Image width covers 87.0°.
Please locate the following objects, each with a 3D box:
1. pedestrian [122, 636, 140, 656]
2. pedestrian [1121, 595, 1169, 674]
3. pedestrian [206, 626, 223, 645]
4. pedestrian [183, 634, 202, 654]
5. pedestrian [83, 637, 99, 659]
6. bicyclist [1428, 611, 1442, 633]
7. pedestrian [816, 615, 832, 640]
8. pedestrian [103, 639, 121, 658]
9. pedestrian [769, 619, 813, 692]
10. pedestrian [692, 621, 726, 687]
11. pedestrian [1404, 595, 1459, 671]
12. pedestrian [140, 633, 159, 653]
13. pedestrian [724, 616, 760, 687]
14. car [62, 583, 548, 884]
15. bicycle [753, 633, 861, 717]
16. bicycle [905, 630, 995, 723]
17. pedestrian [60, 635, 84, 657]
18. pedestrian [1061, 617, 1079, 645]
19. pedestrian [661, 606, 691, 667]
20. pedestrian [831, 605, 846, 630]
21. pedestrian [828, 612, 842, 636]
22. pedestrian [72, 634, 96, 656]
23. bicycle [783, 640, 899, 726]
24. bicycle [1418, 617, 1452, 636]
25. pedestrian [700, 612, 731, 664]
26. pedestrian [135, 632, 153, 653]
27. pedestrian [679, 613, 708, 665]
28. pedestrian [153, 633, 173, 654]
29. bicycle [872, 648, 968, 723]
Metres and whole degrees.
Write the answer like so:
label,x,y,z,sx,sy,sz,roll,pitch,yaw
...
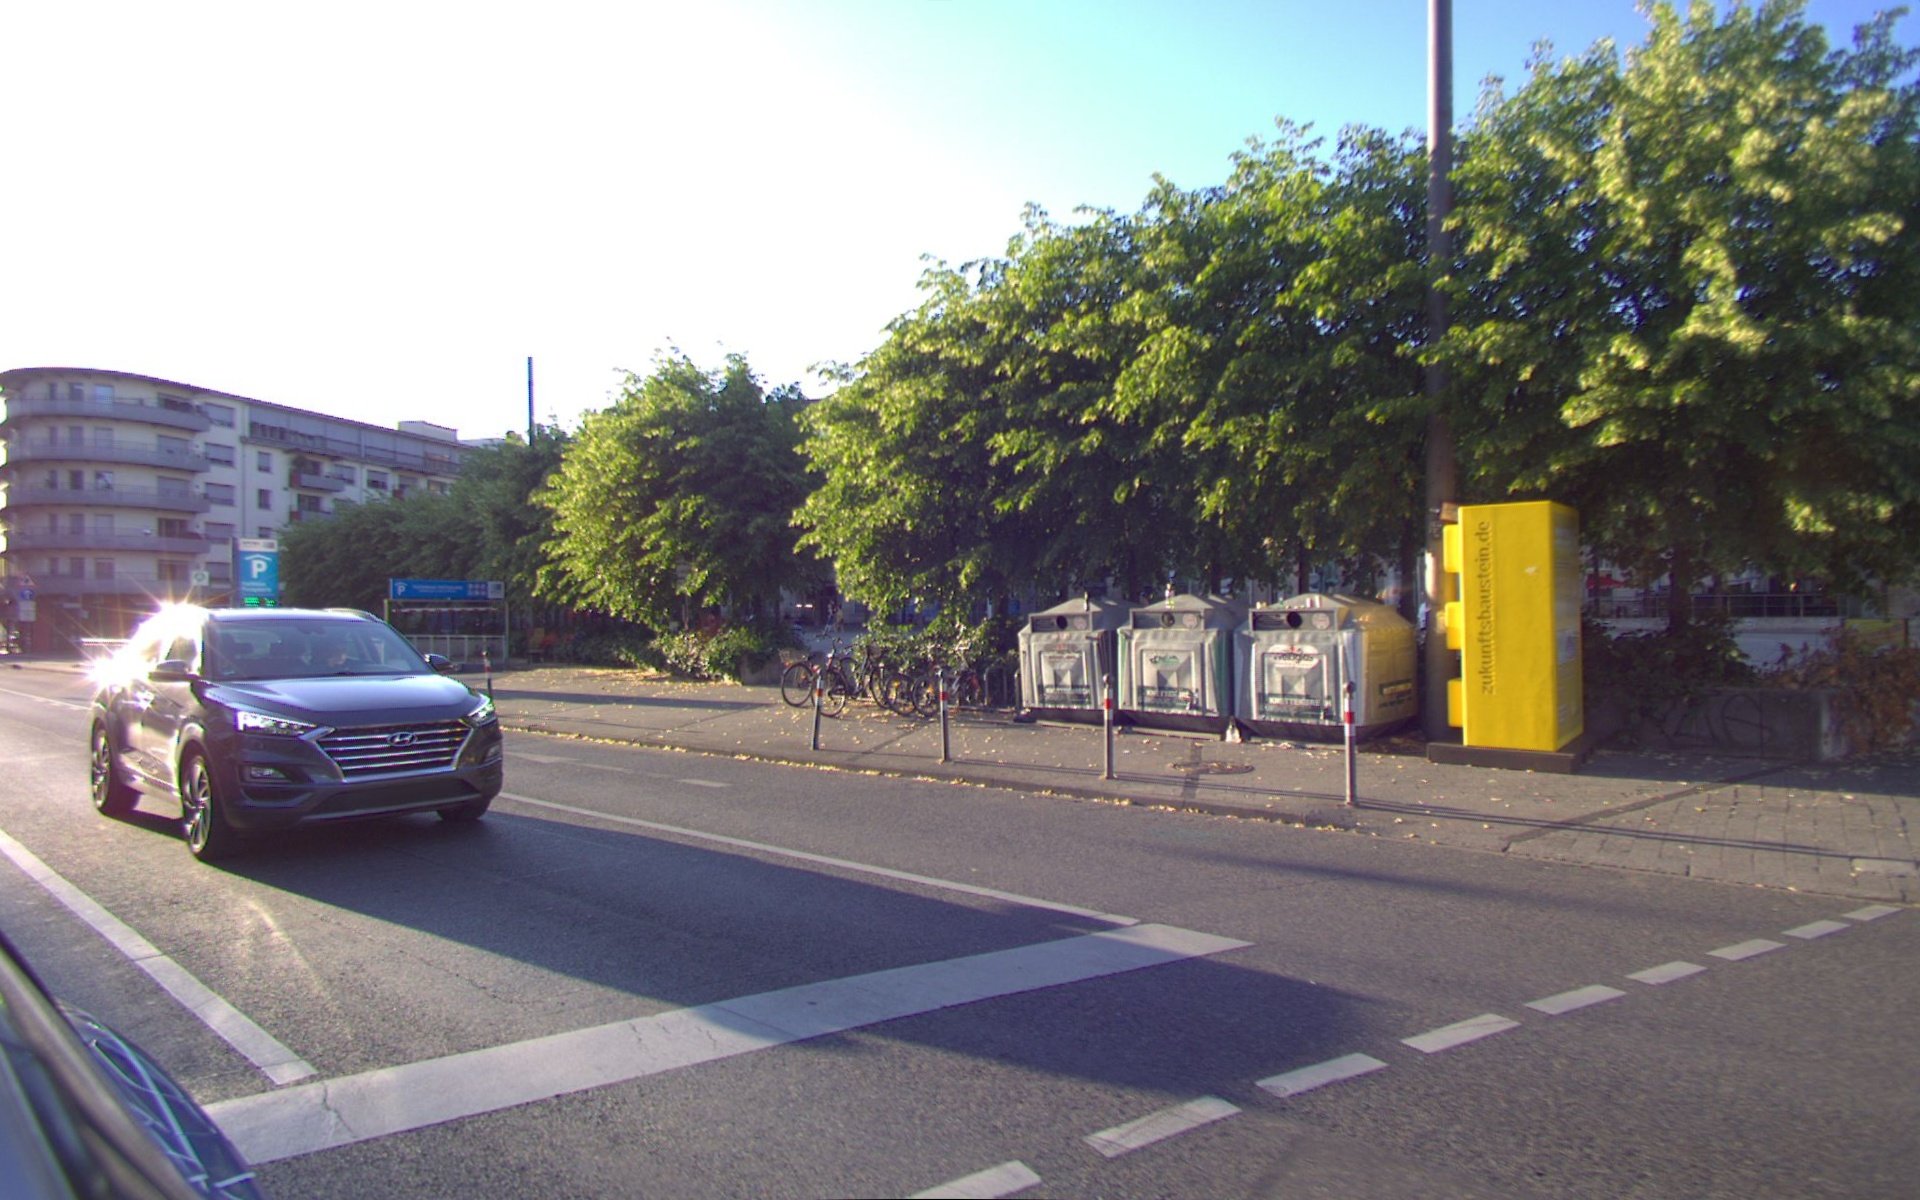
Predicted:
label,x,y,z,sx,sy,sz,roll,pitch,yaw
pedestrian,-54.007,2.991,65.922,0.888,1.332,0.723,-2,-1,39
pedestrian,4.172,0.764,22.870,0.723,1.738,0.899,-1,0,-13
pedestrian,-53.834,2.546,73.085,0.721,1.332,0.891,-1,-1,-11
pedestrian,-52.718,3.015,69.548,0.883,1.332,0.727,-1,-1,25
pedestrian,-55.466,3.049,64.584,0.610,1.332,0.669,-2,-1,38
bicyclist,32.442,1.481,69.173,0.764,1.459,0.637,-1,0,16
pedestrian,-7.640,1.531,56.728,0.651,1.386,0.656,-1,-1,25
pedestrian,-53.921,3.090,64.374,0.875,1.201,0.734,0,-1,-41
pedestrian,-4.788,1.557,28.657,0.852,2.029,0.898,-1,-1,26
pedestrian,-7.985,1.706,32.187,0.890,2.029,0.741,0,-1,-27
pedestrian,10.344,0.715,22.233,0.693,1.633,0.843,-1,0,-12
pedestrian,-54.153,2.886,67.636,0.813,1.332,0.684,-1,-1,16
pedestrian,-6.443,1.504,29.946,0.890,2.029,0.742,0,-1,-23
car,-5.237,0.826,7.857,4.444,1.702,1.854,-2,-2,39
bicycle,-2.562,1.227,17.131,0.547,1.262,2.007,-2,0,35
bicycle,-0.126,1.109,15.164,0.444,1.262,1.571,-2,0,38
pedestrian,-55.069,2.863,62.789,0.725,1.332,0.885,-1,-1,13
pedestrian,4.425,1.251,40.825,0.528,1.071,0.457,-4,-1,34
pedestrian,-9.694,1.239,34.552,0.890,2.029,0.742,0,-1,-23
pedestrian,-6.754,0.989,56.138,0.651,1.386,0.515,-1,-1,26
pedestrian,-7.270,1.423,58.965,0.651,1.386,0.515,-1,-1,26
pedestrian,-54.166,2.790,62.605,0.724,1.332,0.886,-1,-1,9
bicycle,-1.793,1.238,15.585,0.547,1.143,2.007,-2,0,35
bicycle,32.428,1.839,69.141,2.012,1.270,0.577,-1,0,17
pedestrian,-9.567,1.477,39.605,0.736,2.029,0.898,-2,-1,28
pedestrian,-53.545,2.796,66.428,0.887,1.332,0.724,-2,-1,37
pedestrian,-10.576,1.553,40.191,0.733,2.029,0.901,-1,-1,17
pedestrian,-53.117,2.901,67.458,0.884,1.332,0.726,-1,-1,27
bicycle,-0.583,1.271,15.427,0.547,0.986,1.659,-2,0,35
